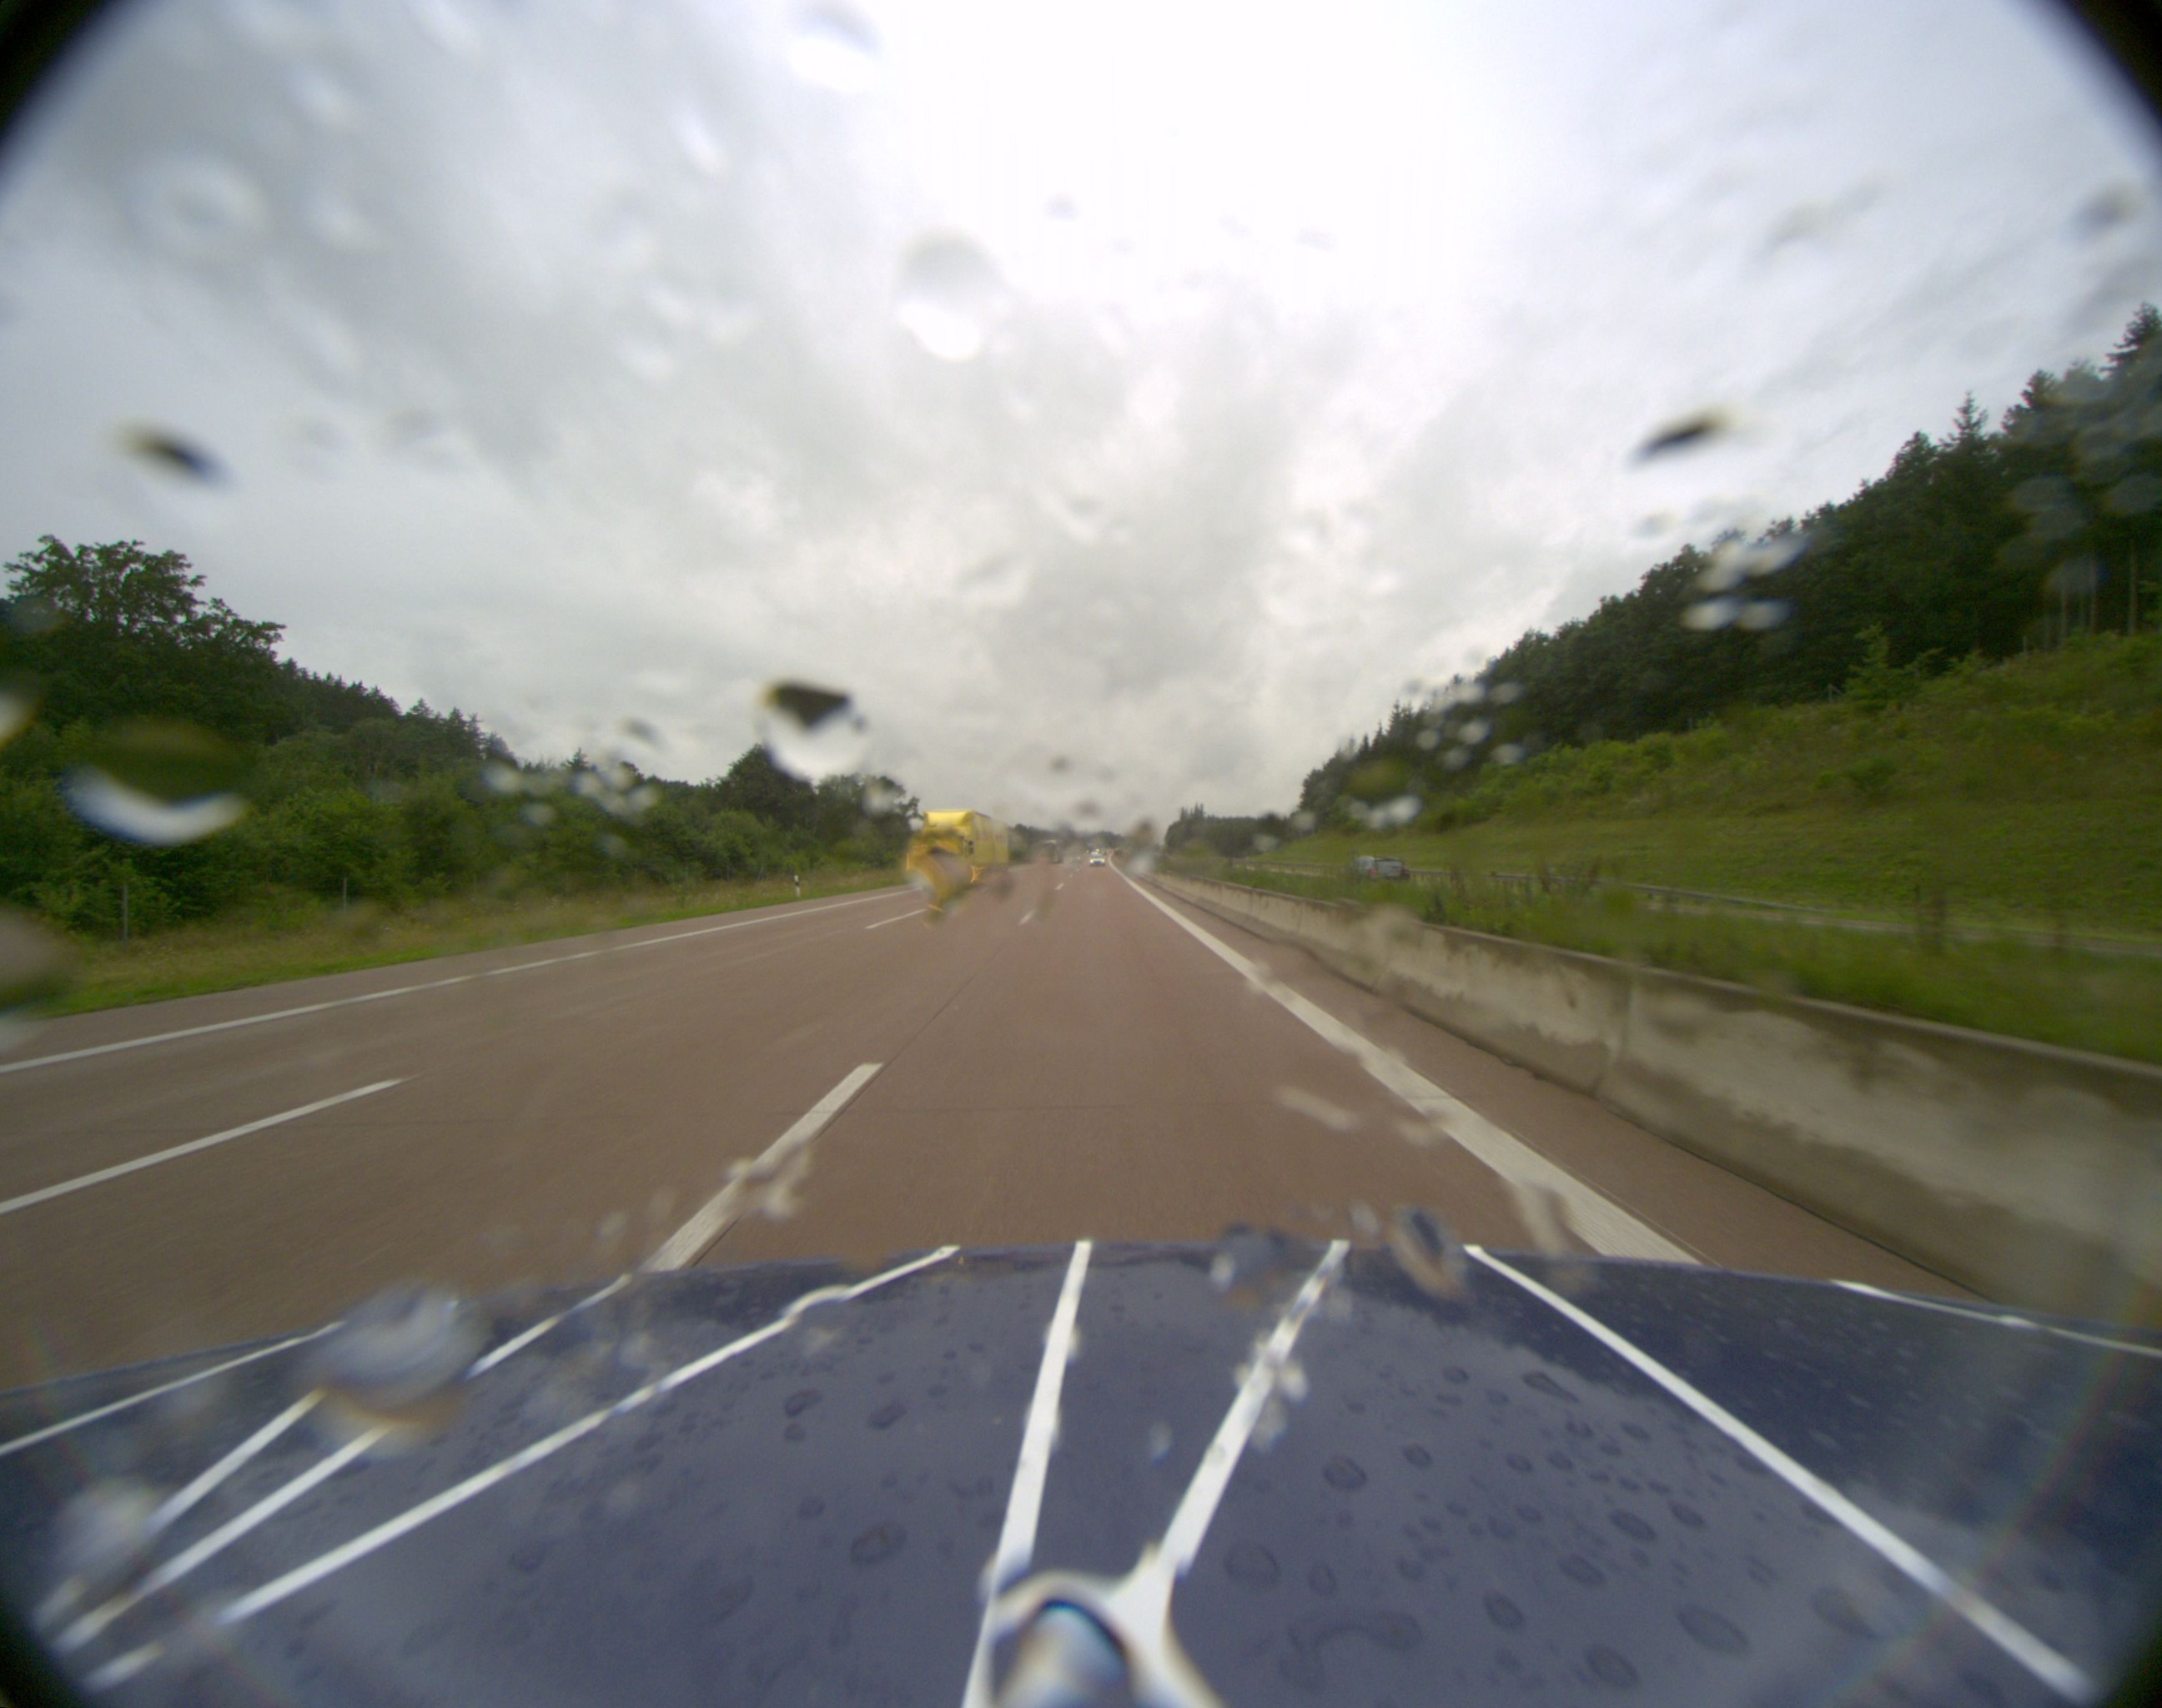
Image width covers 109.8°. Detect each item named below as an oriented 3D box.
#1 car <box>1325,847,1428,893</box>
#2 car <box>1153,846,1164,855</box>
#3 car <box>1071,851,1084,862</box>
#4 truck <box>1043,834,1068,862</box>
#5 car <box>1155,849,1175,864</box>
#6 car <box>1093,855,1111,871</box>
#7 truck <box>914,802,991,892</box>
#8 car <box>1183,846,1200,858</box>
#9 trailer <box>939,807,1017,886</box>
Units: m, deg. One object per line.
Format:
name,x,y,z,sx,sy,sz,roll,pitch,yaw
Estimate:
car,12.574,0.611,32.890,2.053,1.683,6.383,-2,1,1
car,15.814,-0.721,154.976,1.998,1.710,4.259,-2,1,2
car,-0.514,0.349,126.445,1.998,1.623,4.931,-2,1,2
truck,-4.206,-1.042,130.337,3.190,4.349,14.703,-2,1,2
car,10.680,0.268,96.710,2.053,1.766,5.324,-2,1,1
car,2.554,1.068,91.091,1.998,1.623,4.931,-2,1,2
truck,-6.516,-0.369,39.488,2.610,4.190,6.249,-2,1,2
car,16.138,-0.292,111.353,1.818,1.713,4.951,0,1,2
trailer,-6.257,-0.521,48.773,2.571,4.204,14.079,-2,1,2
